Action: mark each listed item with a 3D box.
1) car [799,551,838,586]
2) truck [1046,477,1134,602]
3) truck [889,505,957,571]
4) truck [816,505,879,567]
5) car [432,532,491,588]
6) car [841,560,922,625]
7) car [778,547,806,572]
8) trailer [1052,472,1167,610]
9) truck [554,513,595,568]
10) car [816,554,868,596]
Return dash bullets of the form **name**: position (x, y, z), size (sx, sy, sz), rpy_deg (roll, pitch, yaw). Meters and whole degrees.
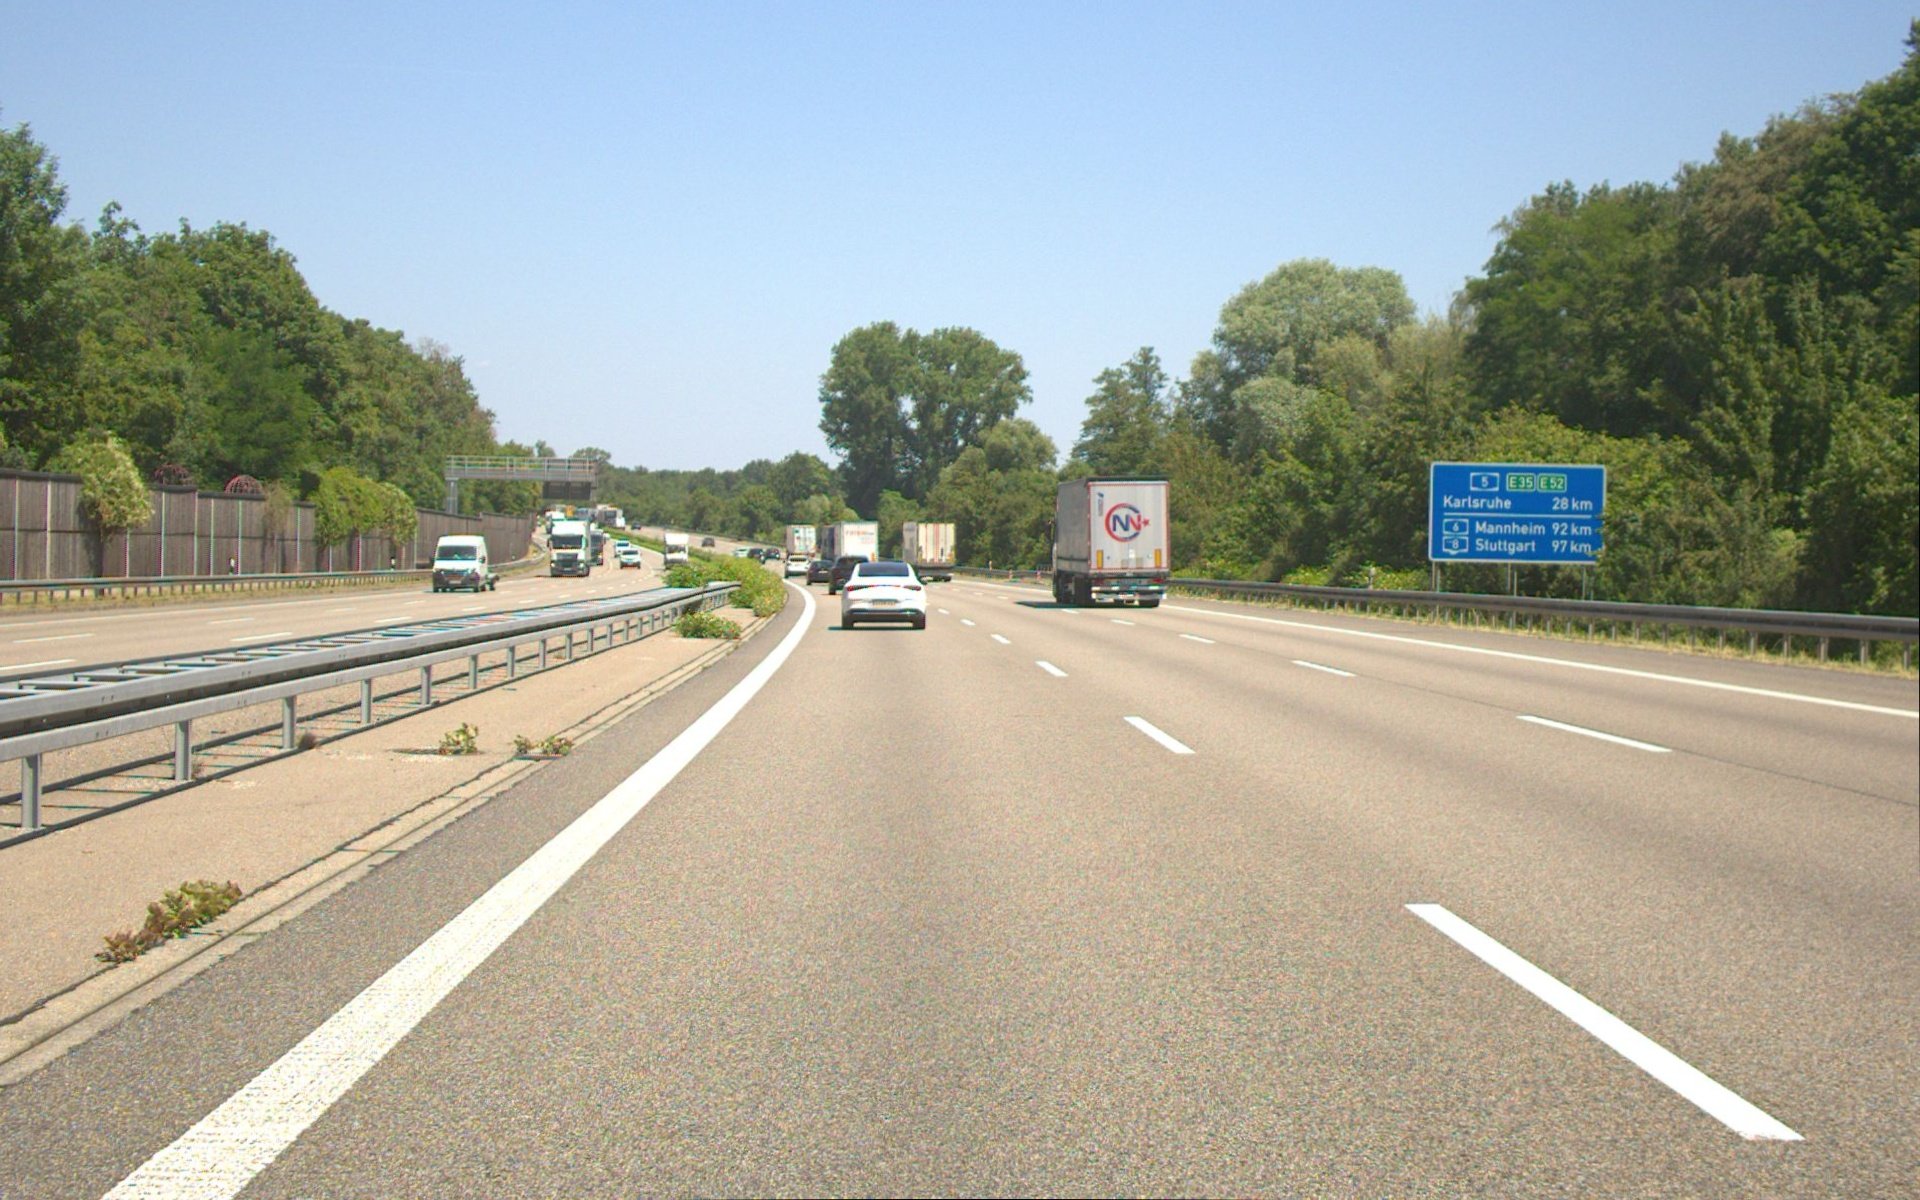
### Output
- **car**: position (-8.267, -1.839, 200.838), size (1.993, 2.007, 4.001), rpy_deg (0, 1, -7)
- **truck**: position (4.528, -2.119, 120.545), size (2.605, 4.272, 5.436), rpy_deg (0, 1, -3)
- **truck**: position (-2.559, -4.140, 231.336), size (3.491, 4.296, 10.991), rpy_deg (0, 1, -6)
- **truck**: position (-8.089, -4.577, 245.494), size (3.359, 4.296, 10.831), rpy_deg (0, 1, -8)
- **car**: position (-21.935, -1.753, 151.431), size (2.023, 2.423, 5.413), rpy_deg (0, 1, -2)
- **car**: position (-1.689, -0.172, 74.915), size (1.715, 1.365, 3.375), rpy_deg (0, 1, 0)
- **car**: position (-12.346, -2.991, 252.703), size (1.723, 1.777, 4.001), rpy_deg (0, 1, -7)
- **trailer**: position (4.817, -1.937, 113.438), size (2.624, 4.246, 14.062), rpy_deg (0, 1, -2)
- **truck**: position (-28.084, -4.328, 250.655), size (2.686, 3.881, 5.574), rpy_deg (0, 1, -3)
- **car**: position (-5.144, -1.095, 149.578), size (1.993, 1.766, 4.001), rpy_deg (0, 1, -6)
